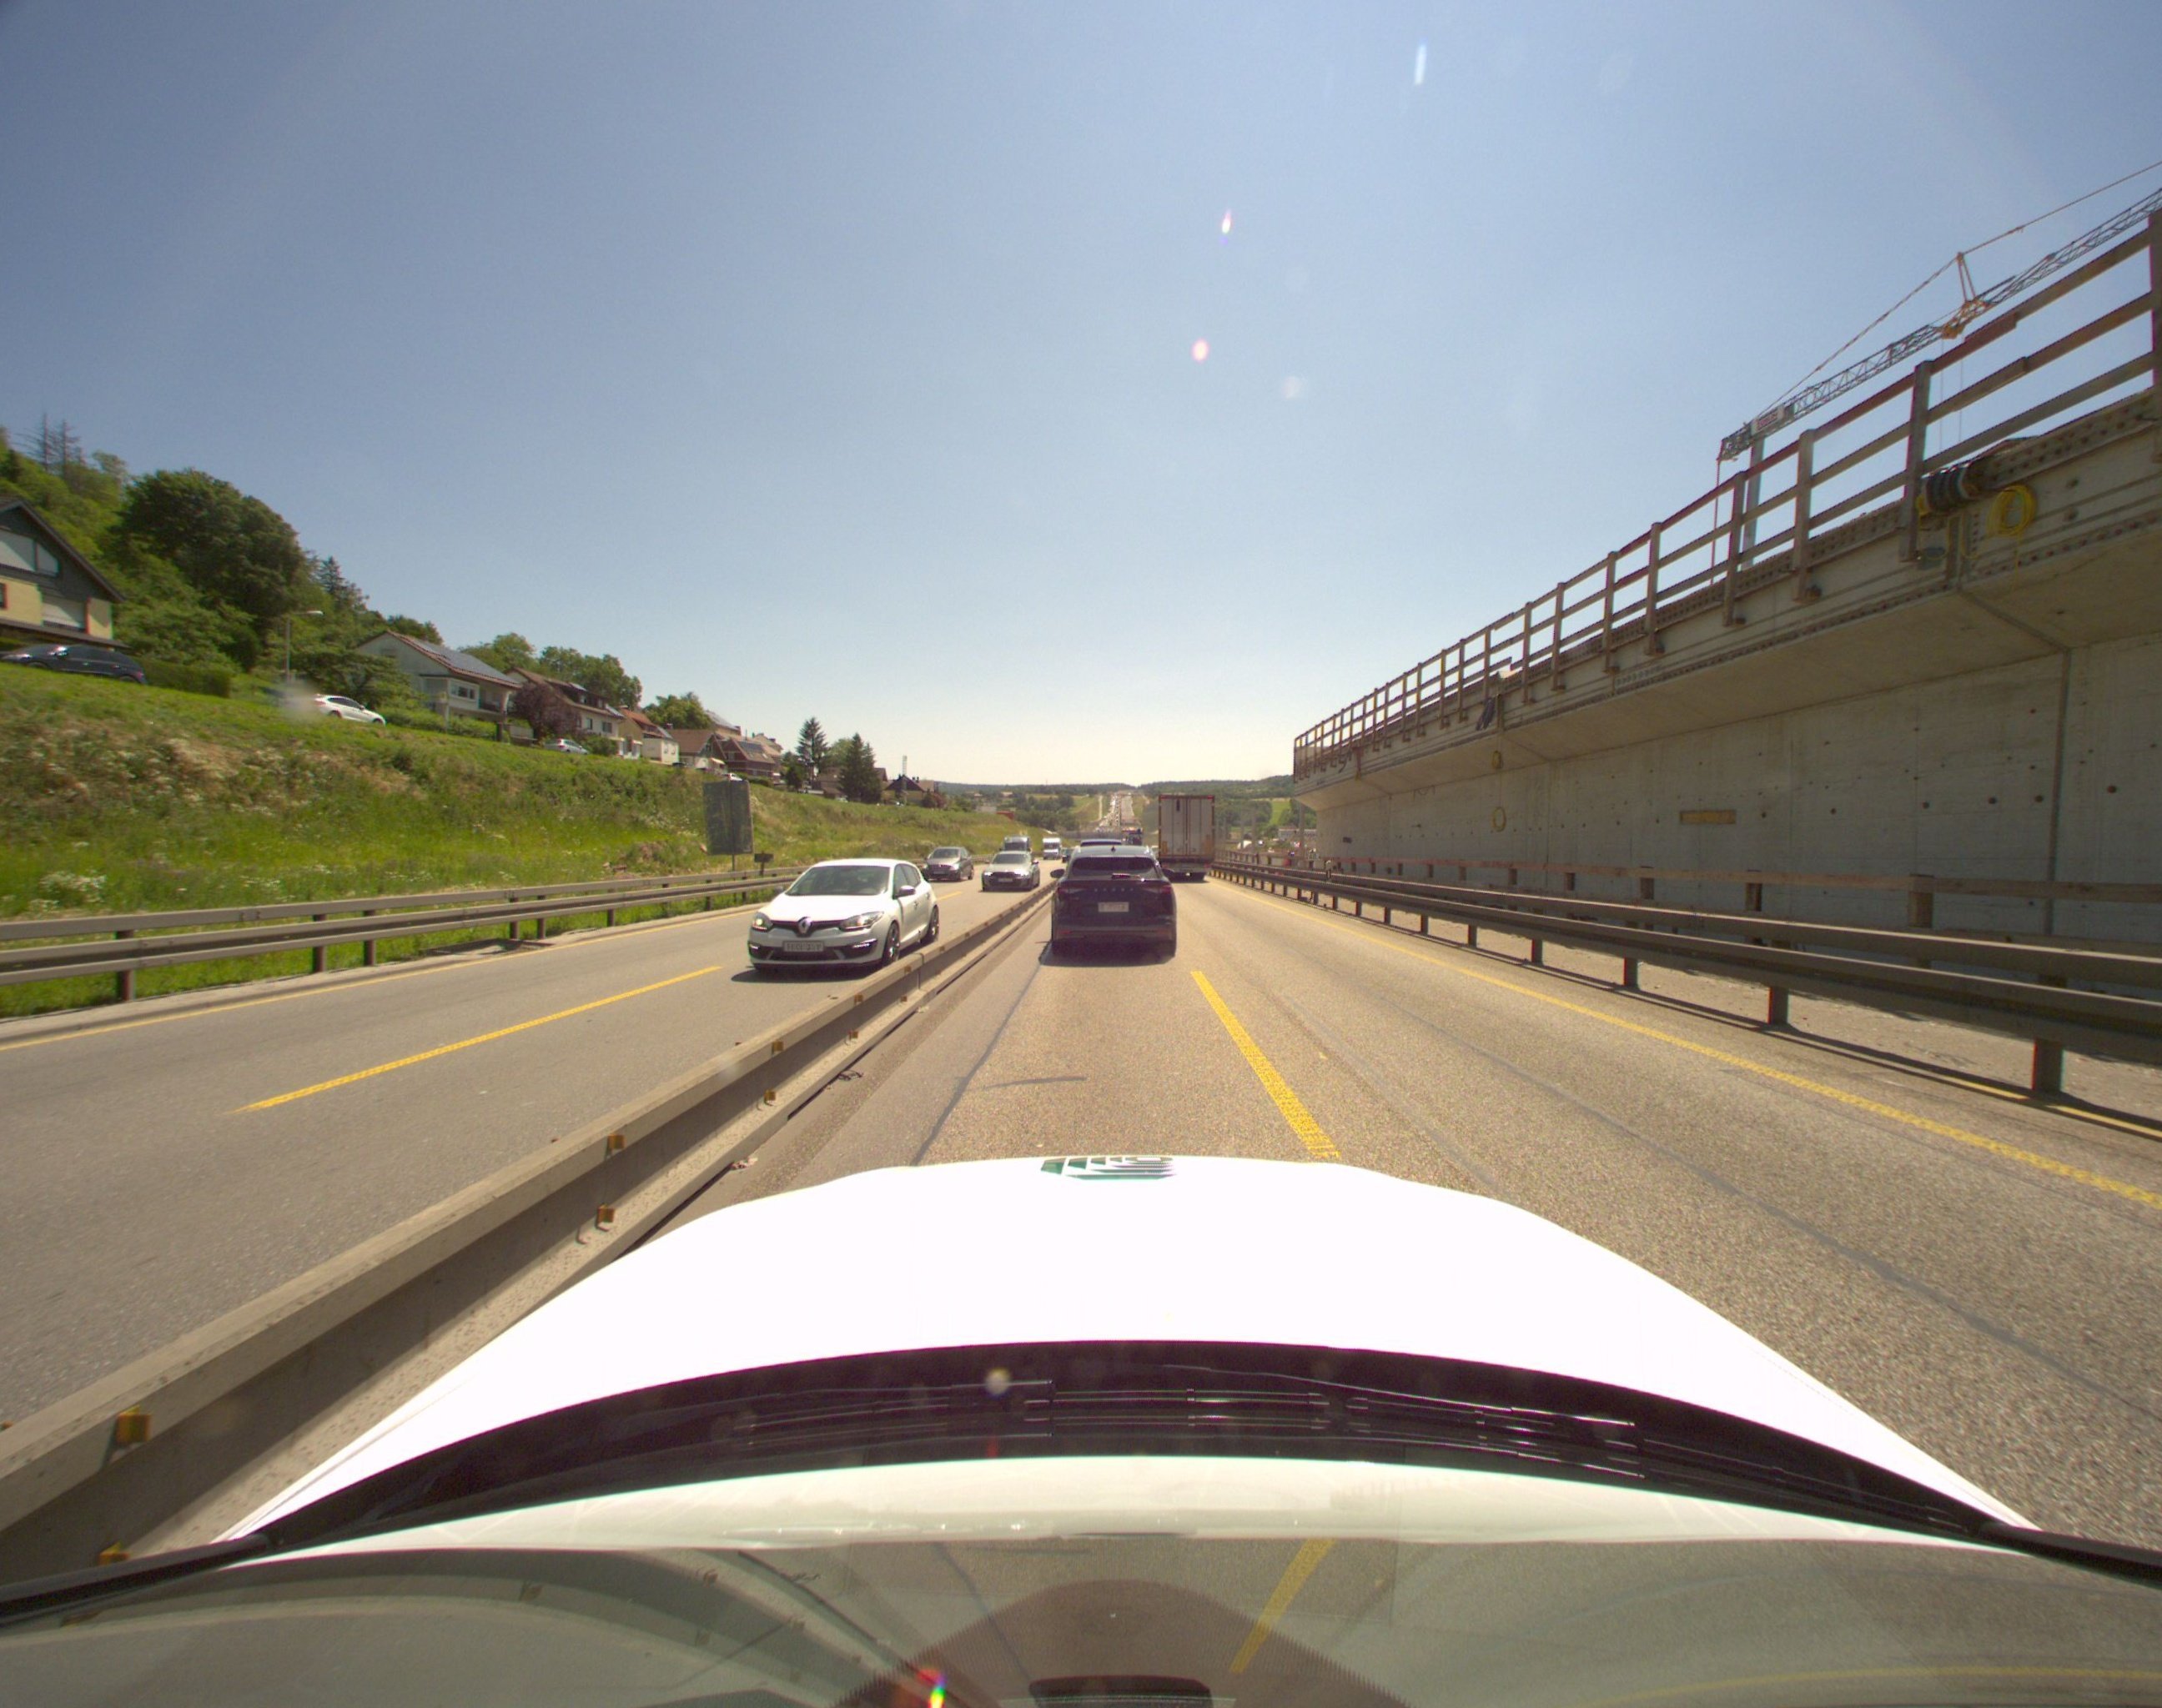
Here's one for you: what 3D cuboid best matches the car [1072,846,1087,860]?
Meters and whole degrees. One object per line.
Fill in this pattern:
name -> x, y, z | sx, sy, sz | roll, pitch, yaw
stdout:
car -> -0.202, -0.161, 109.462 | 1.831, 1.828, 5.042 | 0, 0, 1

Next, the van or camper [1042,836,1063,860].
van or camper -> -3.646, -0.831, 107.280 | 2.282, 3.066, 6.927 | 0, 0, 2

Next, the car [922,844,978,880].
car -> -6.046, 0.356, 38.024 | 1.766, 1.582, 4.287 | 1, 0, 2

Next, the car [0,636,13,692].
car -> -38.321, -6.642, 26.273 | 1.989, 1.872, 4.424 | 0, -1, -4

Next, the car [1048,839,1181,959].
car -> 0.540, 0.612, 13.027 | 1.795, 1.607, 4.003 | 0, 0, 2

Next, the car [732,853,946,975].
car -> -3.261, 0.719, 11.857 | 1.795, 1.464, 4.002 | 0, 0, 2

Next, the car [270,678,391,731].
car -> -39.586, -7.838, 43.158 | 1.990, 1.794, 5.003 | 0, -1, -5

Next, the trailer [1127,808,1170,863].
trailer -> 6.051, -1.476, 75.317 | 3.168, 4.513, 14.972 | 0, -1, 2

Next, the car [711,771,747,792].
car -> -42.791, -8.775, 99.050 | 2.341, 2.041, 4.816 | 0, -1, -1

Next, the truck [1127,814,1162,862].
truck -> 6.298, -1.500, 82.412 | 3.168, 4.513, 8.168 | 0, -1, 2

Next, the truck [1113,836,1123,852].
truck -> 9.839, -2.593, 219.696 | 2.629, 4.194, 9.288 | 0, -1, 2

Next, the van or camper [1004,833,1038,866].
van or camper -> -4.844, -0.349, 66.712 | 2.132, 2.573, 6.567 | 0, 0, 2

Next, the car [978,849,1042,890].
car -> -2.603, 0.535, 30.888 | 1.822, 1.433, 4.631 | -1, 0, 2

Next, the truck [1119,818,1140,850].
truck -> 7.330, -2.975, 124.887 | 2.842, 4.465, 11.920 | 0, -1, 1

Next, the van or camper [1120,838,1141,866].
van or camper -> 6.015, -0.161, 98.669 | 2.378, 3.280, 6.475 | 0, -1, 4

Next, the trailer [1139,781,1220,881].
trailer -> 4.965, -1.148, 43.791 | 3.168, 4.512, 13.115 | 0, 1, 2

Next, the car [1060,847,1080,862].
car -> -1.103, 0.065, 85.214 | 1.836, 1.475, 4.837 | 0, 0, 2

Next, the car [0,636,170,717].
car -> -38.877, -6.715, 31.376 | 2.066, 2.008, 4.967 | 0, -1, -3

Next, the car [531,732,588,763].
car -> -39.885, -8.096, 62.377 | 1.990, 1.794, 3.993 | 0, -1, -5

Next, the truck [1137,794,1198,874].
truck -> 5.166, -1.205, 50.331 | 3.168, 4.512, 8.170 | 0, 1, 2

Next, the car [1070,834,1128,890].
car -> 0.701, 0.309, 30.554 | 1.986, 1.926, 4.509 | 0, -1, 2

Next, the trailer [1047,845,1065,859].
trailer -> -3.449, -0.278, 113.180 | 2.093, 1.894, 5.144 | 0, 0, 2

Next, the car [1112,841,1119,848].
car -> 8.105, -2.238, 191.230 | 1.806, 1.601, 4.576 | 0, 0, 2

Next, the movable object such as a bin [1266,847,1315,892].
movable object such as a bin -> 23.142, 1.709, 90.524 | 3.215, 4.743, 9.658 | 0, -1, 2
